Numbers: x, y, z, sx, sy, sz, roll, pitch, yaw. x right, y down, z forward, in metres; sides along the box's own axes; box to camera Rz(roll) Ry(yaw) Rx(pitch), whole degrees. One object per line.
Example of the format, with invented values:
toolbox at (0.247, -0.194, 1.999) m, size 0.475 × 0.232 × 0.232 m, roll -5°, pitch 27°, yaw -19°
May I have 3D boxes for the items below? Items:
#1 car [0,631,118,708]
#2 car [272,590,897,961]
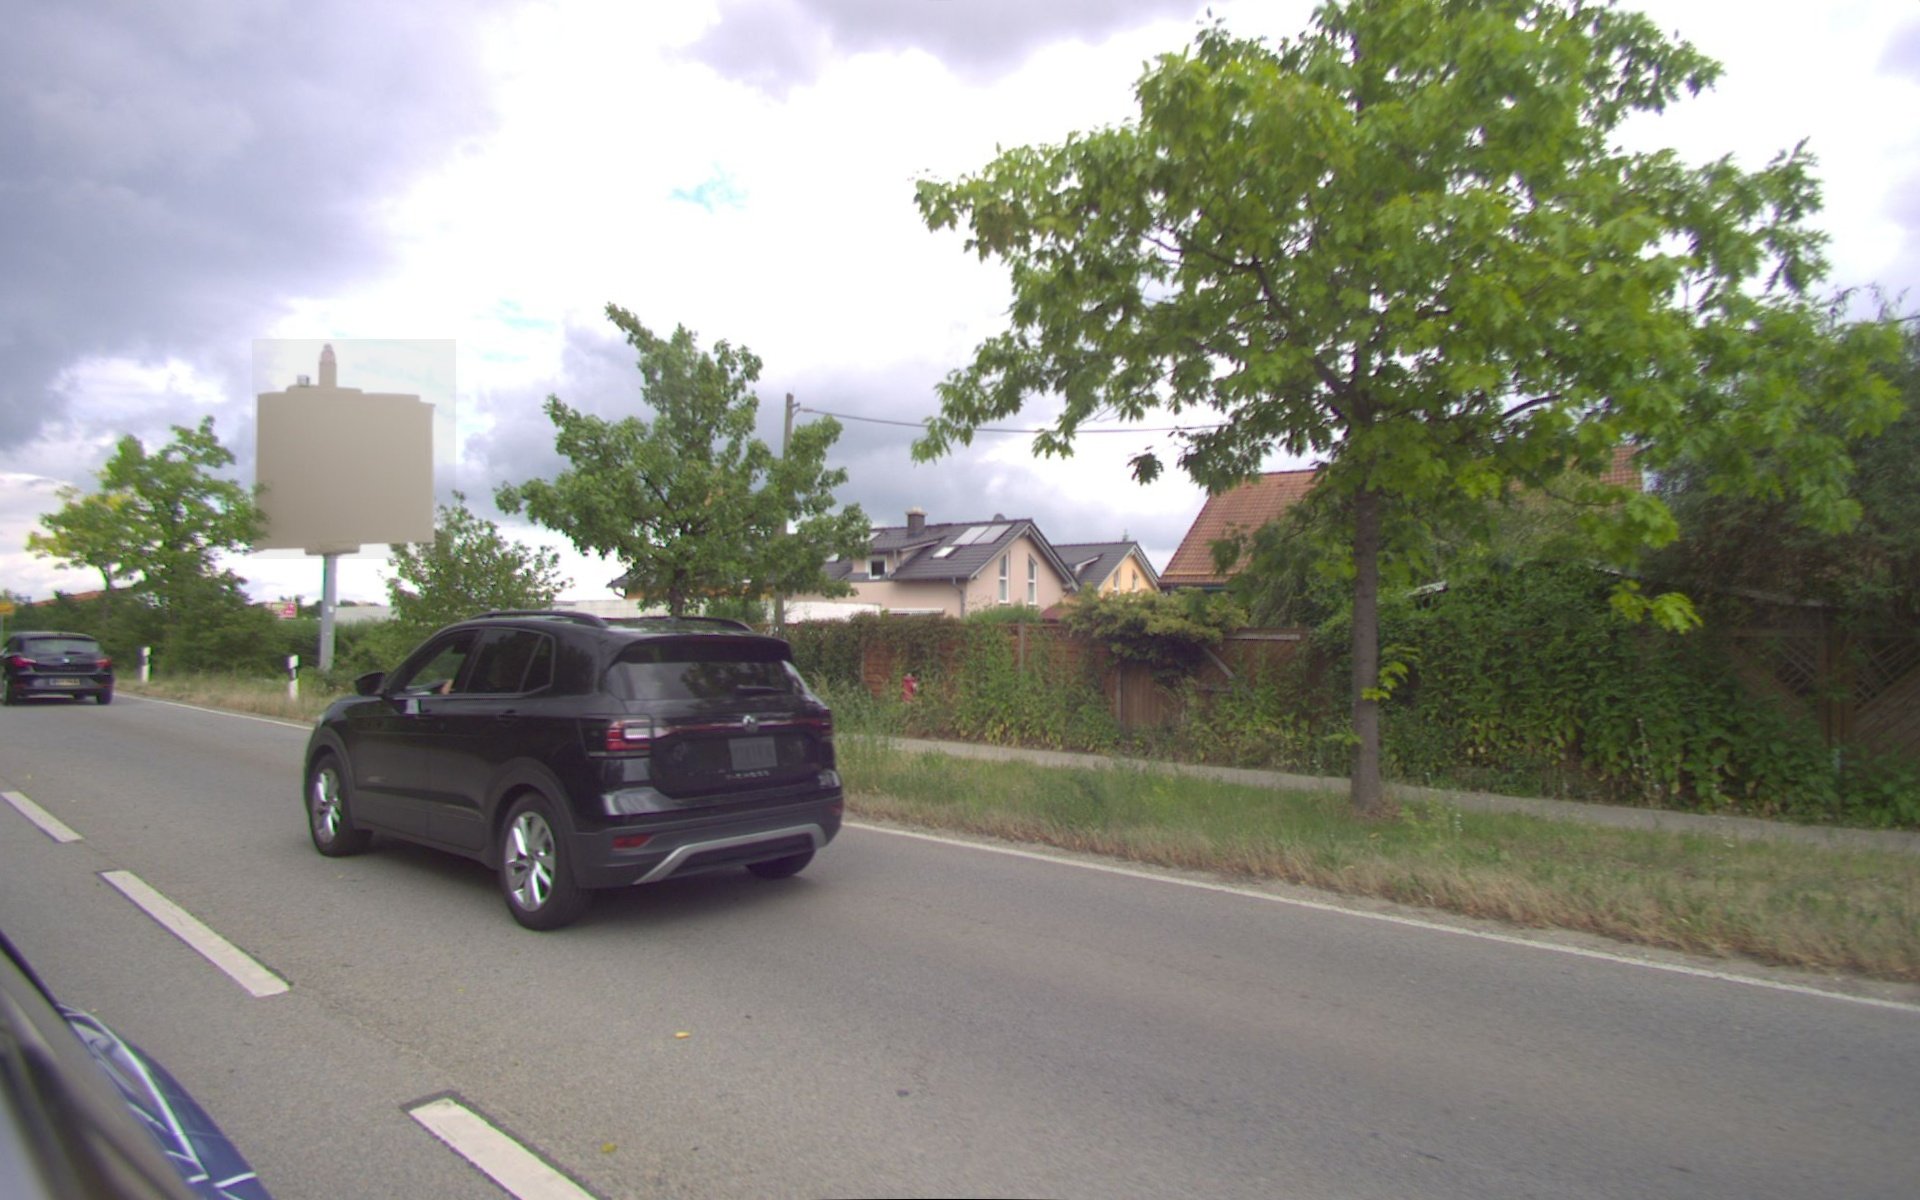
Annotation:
car at (-18.757, 1.377, 20.707) m, size 4.010 × 1.422 × 1.659 m, roll -2°, pitch -5°, yaw 41°
car at (-2.478, 0.828, 6.212) m, size 4.090 × 1.546 × 1.716 m, roll -2°, pitch -4°, yaw 39°
